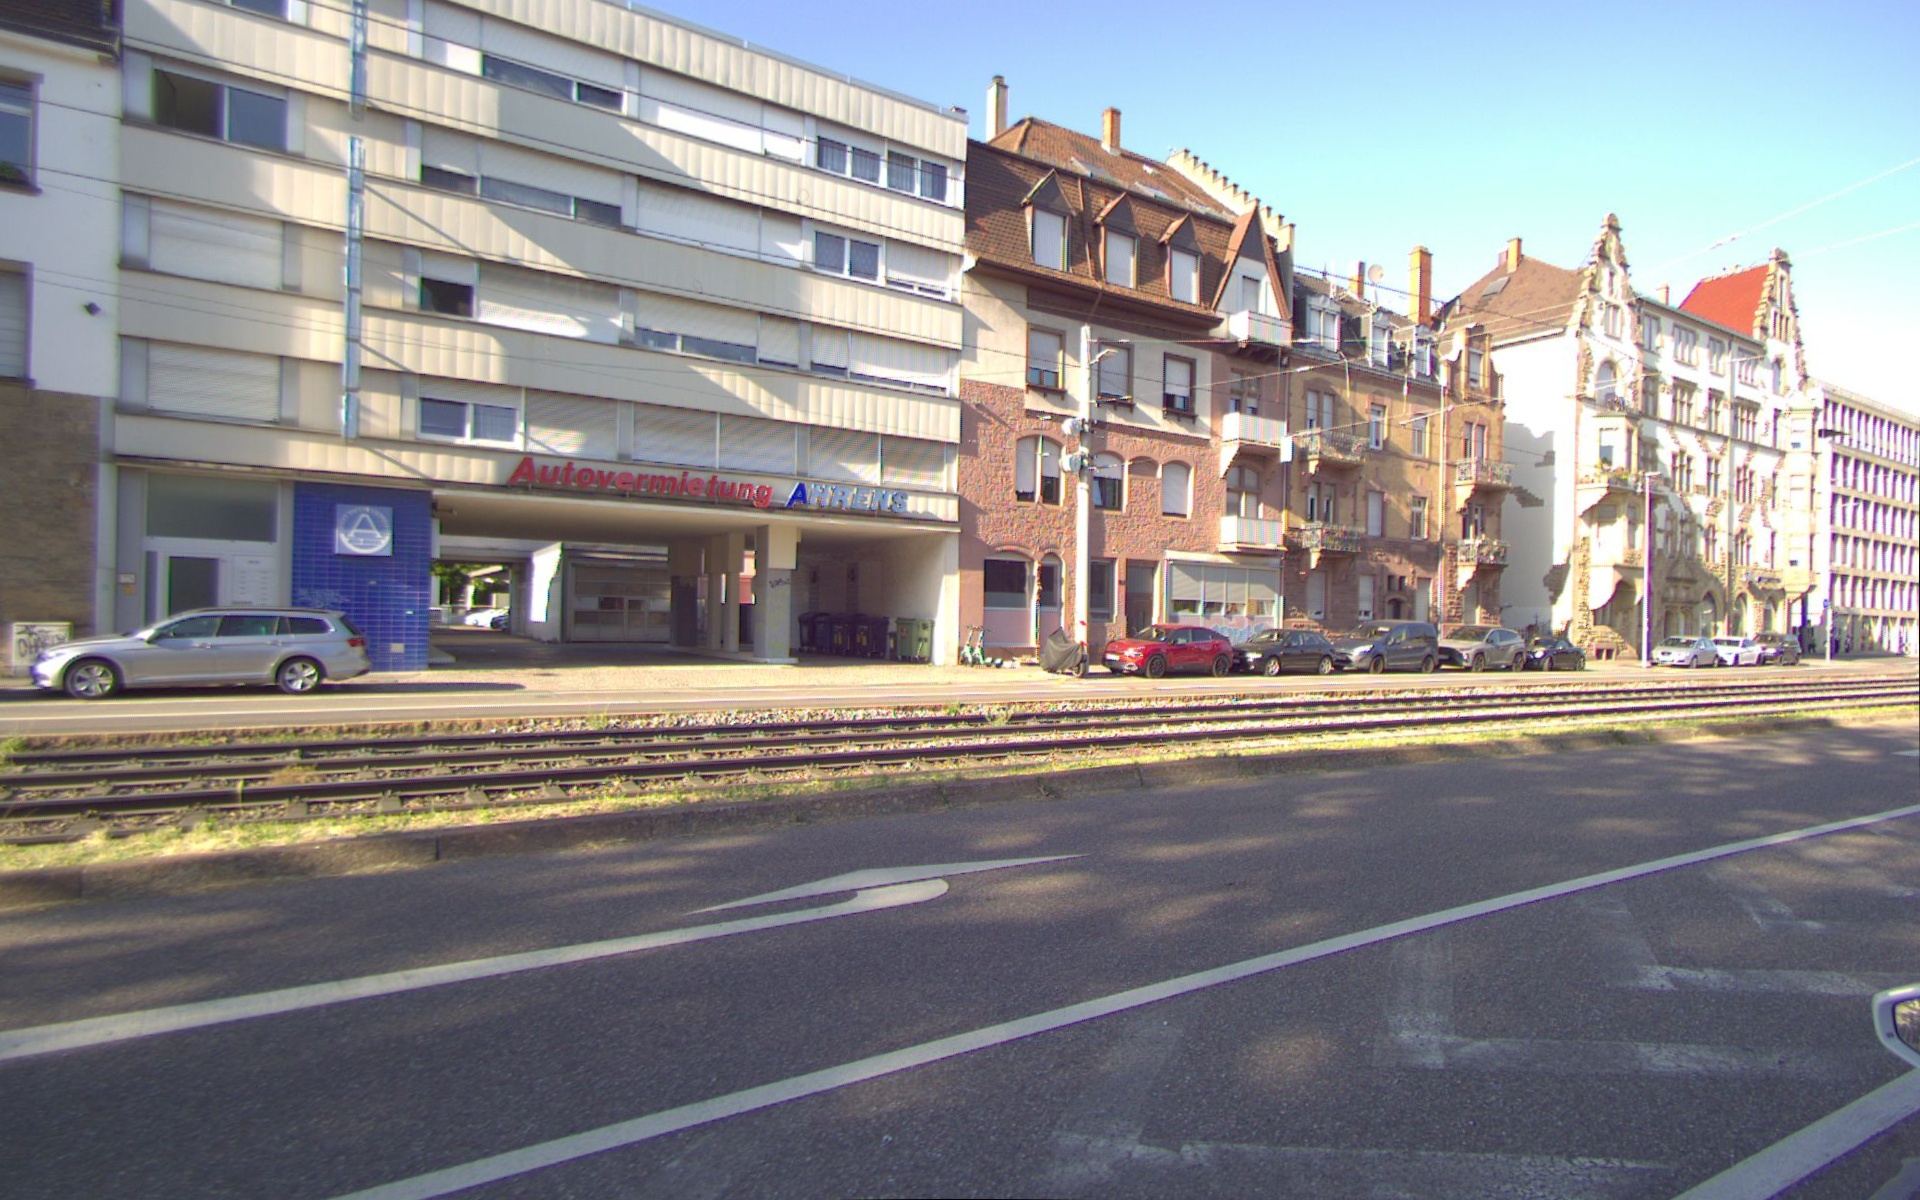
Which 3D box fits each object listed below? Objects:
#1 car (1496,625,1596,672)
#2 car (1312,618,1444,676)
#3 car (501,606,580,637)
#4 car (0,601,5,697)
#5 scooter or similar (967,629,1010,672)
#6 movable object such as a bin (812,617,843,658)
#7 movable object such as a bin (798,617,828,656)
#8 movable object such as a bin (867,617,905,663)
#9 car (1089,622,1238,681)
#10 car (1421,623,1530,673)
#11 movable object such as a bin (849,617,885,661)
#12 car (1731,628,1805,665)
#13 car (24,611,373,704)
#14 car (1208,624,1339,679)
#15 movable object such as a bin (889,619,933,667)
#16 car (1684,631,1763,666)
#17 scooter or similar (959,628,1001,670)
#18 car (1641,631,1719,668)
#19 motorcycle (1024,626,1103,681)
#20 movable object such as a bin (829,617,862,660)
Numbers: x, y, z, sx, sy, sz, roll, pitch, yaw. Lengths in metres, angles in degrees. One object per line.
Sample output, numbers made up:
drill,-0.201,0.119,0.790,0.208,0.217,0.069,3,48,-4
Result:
car,23.664,1.939,40.537,4.153,1.674,1.677,2,2,-32
car,14.400,1.599,34.536,4.401,1.777,1.786,2,2,-29
car,-23.784,1.223,56.978,3.953,1.530,1.785,3,0,-30
car,-17.275,0.762,14.782,4.303,1.579,1.824,2,0,-31
scooter or similar,0.840,1.485,29.579,1.186,1.222,0.389,2,2,-31
movable object such as a bin,-4.650,1.310,35.208,0.628,1.389,1.260,2,-1,-31
movable object such as a bin,-5.334,1.315,36.355,0.628,1.389,1.260,2,-1,-31
movable object such as a bin,-2.333,1.262,31.667,0.629,1.389,1.184,2,0,-37
car,5.997,1.488,29.471,4.220,1.479,1.784,2,2,-33
car,19.369,1.786,37.682,4.153,1.674,1.677,2,2,-32
movable object such as a bin,-3.060,1.278,32.931,0.629,1.389,1.259,2,-1,-35
car,42.871,2.453,53.292,4.140,1.742,1.783,2,2,-33
car,-13.009,0.961,17.589,4.631,1.409,1.823,2,-1,-33
car,9.943,1.599,31.794,3.956,1.530,1.784,2,2,-32
movable object such as a bin,-1.491,1.303,30.521,0.629,1.389,1.400,2,0,-37
car,38.249,2.419,50.289,4.140,1.530,1.783,2,2,-33
scooter or similar,0.615,1.462,30.100,1.186,1.222,0.389,2,2,-31
car,33.814,2.295,47.141,3.962,1.530,1.781,2,2,-36
motorcycle,2.865,1.456,27.868,2.045,1.345,0.835,4,2,43
movable object such as a bin,-3.885,1.290,33.983,0.628,1.389,1.260,2,-1,-31
